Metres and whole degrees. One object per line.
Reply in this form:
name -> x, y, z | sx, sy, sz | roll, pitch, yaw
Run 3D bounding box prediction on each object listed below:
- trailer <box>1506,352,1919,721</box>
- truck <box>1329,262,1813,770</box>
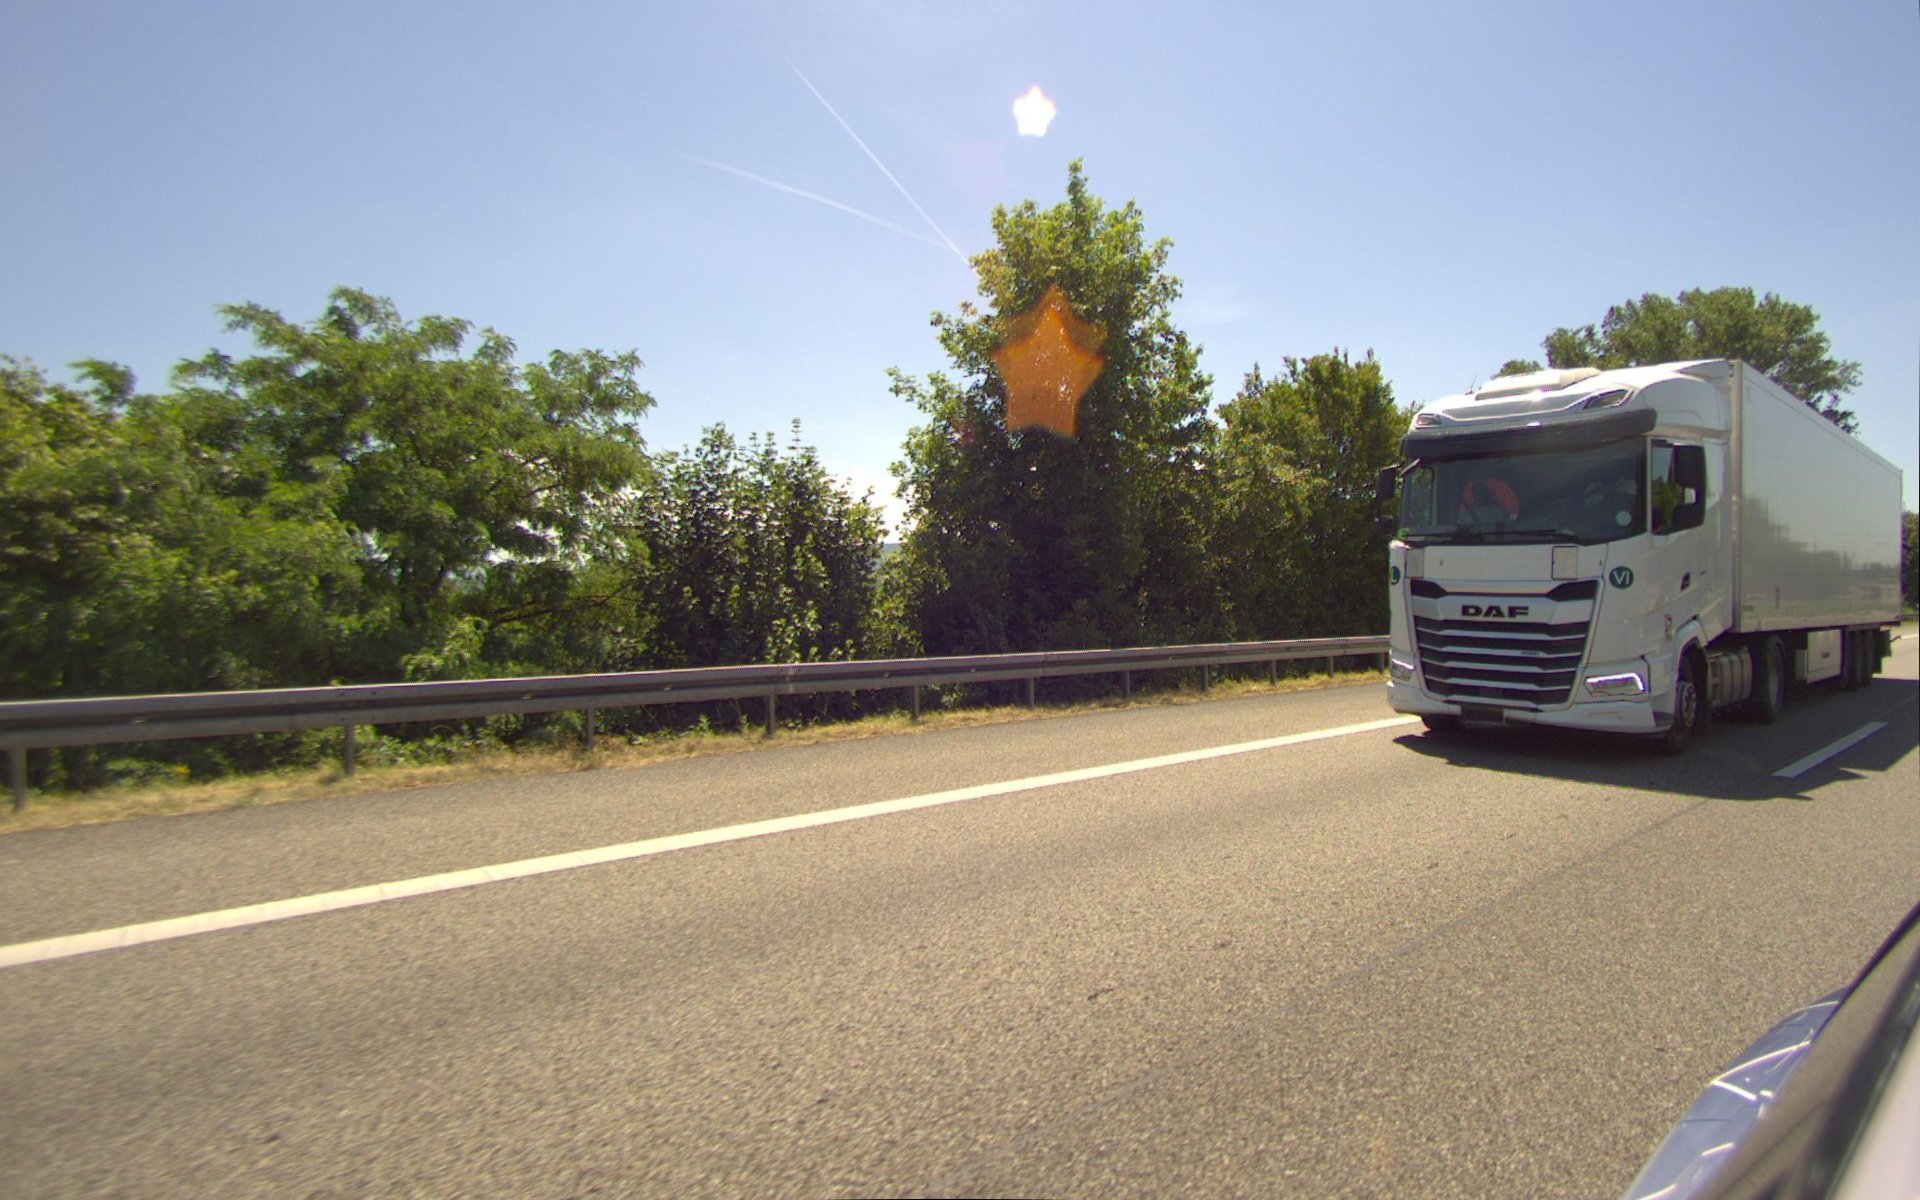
trailer -> 12.959, -0.753, 16.571 | 12.314, 4.158, 2.964 | 0, 0, -41
truck -> 7.100, -0.713, 11.422 | 6.098, 4.158, 2.964 | 0, 0, -41
